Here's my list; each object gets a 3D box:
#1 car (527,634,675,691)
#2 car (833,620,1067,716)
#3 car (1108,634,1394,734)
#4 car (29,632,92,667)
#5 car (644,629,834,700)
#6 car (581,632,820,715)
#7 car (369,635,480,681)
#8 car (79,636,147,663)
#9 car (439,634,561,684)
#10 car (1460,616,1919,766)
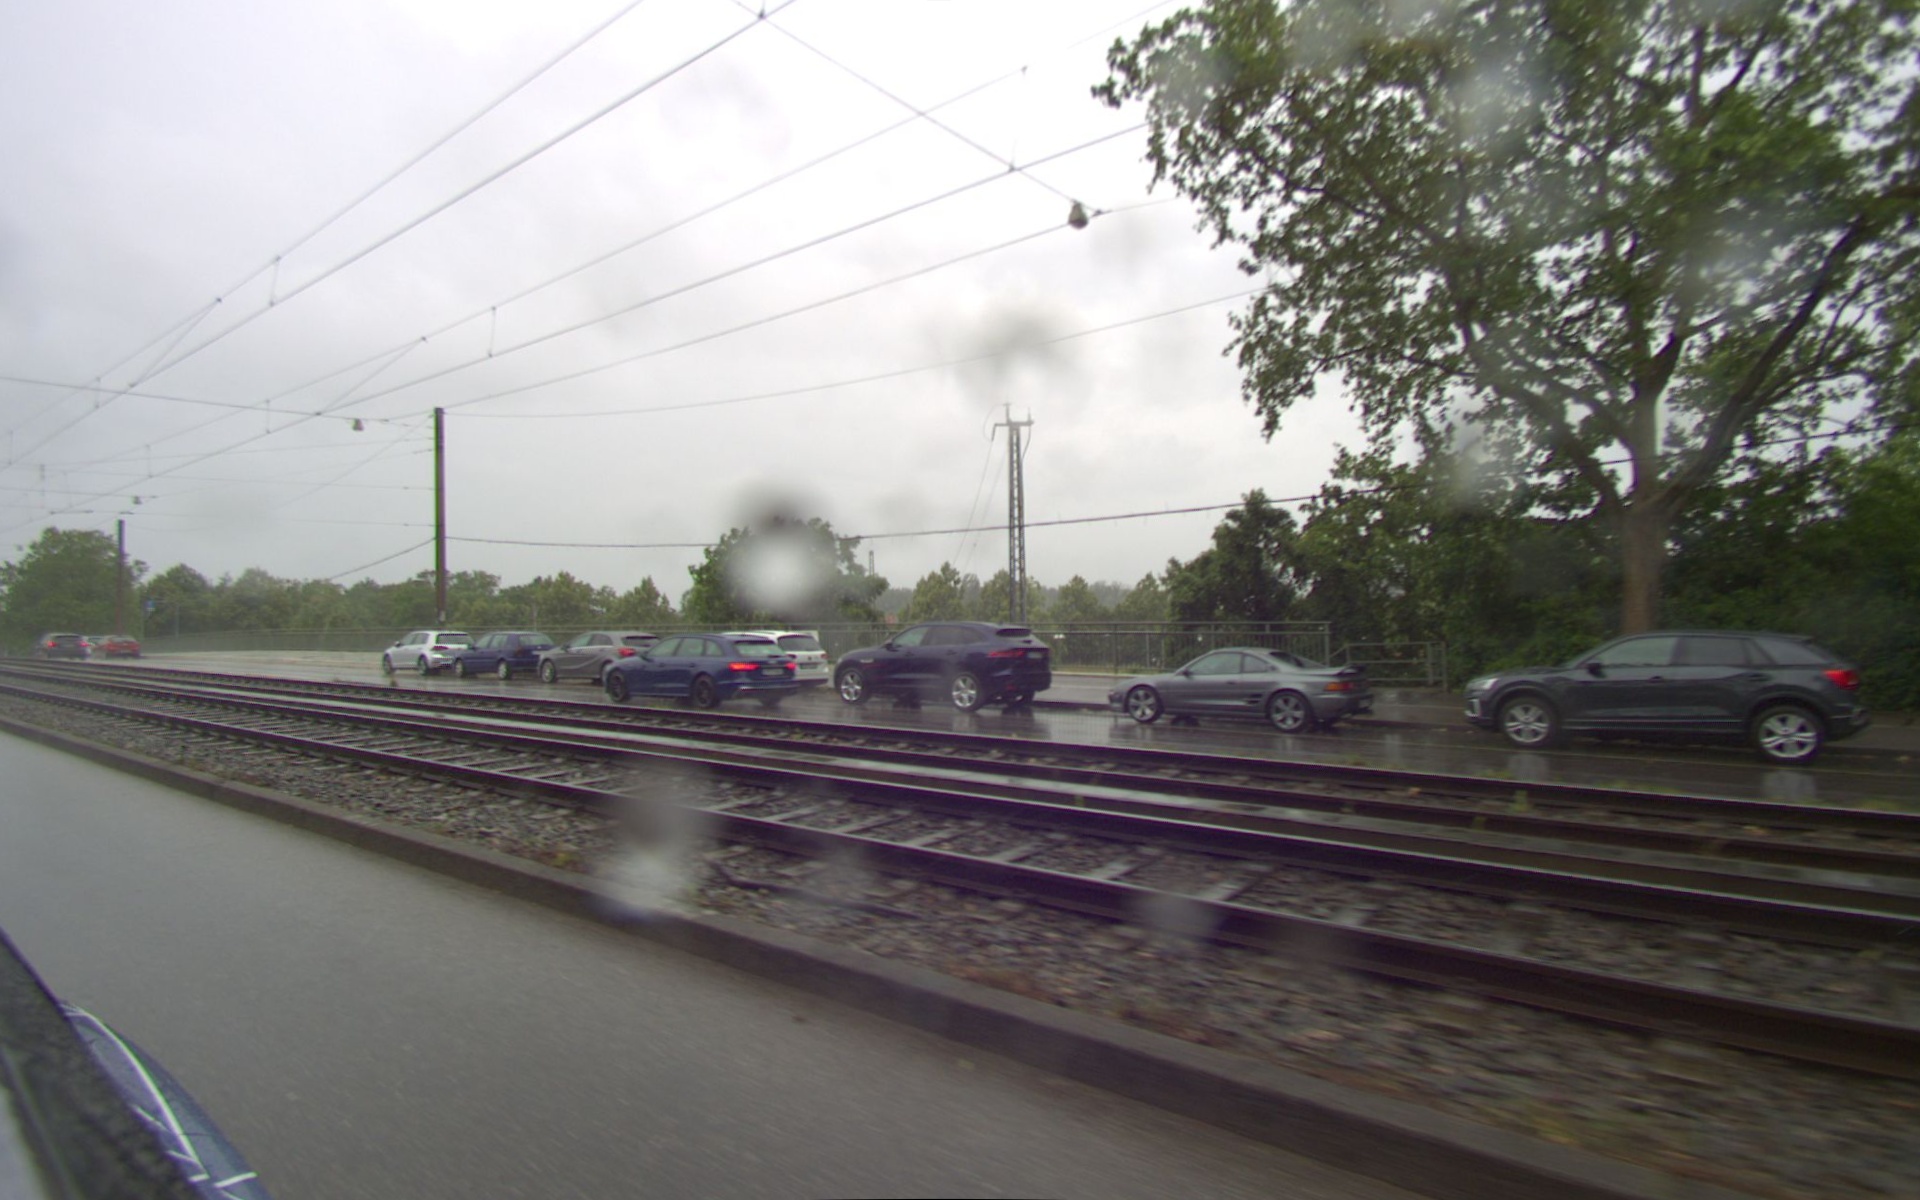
[{"bbox_3d":[-9.724,1.645,27.332,4.121,1.442,1.634,-2,-3,34],"label":"car"},{"bbox_3d":[-0.260,1.262,19.726,4.363,1.663,1.867,-2,-3,38],"label":"car"},{"bbox_3d":[4.539,1.245,16.055,3.960,1.389,1.867,-2,-3,38],"label":"car"},{"bbox_3d":[-47.936,2.601,53.910,3.997,1.729,1.973,-1,0,40],"label":"car"},{"bbox_3d":[-5.239,1.459,23.735,4.571,1.522,1.868,-2,-3,37],"label":"car"},{"bbox_3d":[-5.259,1.394,20.255,4.909,1.478,2.014,-2,-3,37],"label":"car"},{"bbox_3d":[-18.037,1.916,34.014,4.144,1.442,1.633,-2,-3,36],"label":"car"},{"bbox_3d":[-50.013,2.906,59.747,4.909,1.478,2.015,-2,-1,37],"label":"car"},{"bbox_3d":[-14.062,1.771,30.901,3.916,1.442,1.634,-2,-3,35],"label":"car"},{"bbox_3d":[8.875,1.033,12.697,4.377,1.564,2.014,-2,-3,37],"label":"car"}]
